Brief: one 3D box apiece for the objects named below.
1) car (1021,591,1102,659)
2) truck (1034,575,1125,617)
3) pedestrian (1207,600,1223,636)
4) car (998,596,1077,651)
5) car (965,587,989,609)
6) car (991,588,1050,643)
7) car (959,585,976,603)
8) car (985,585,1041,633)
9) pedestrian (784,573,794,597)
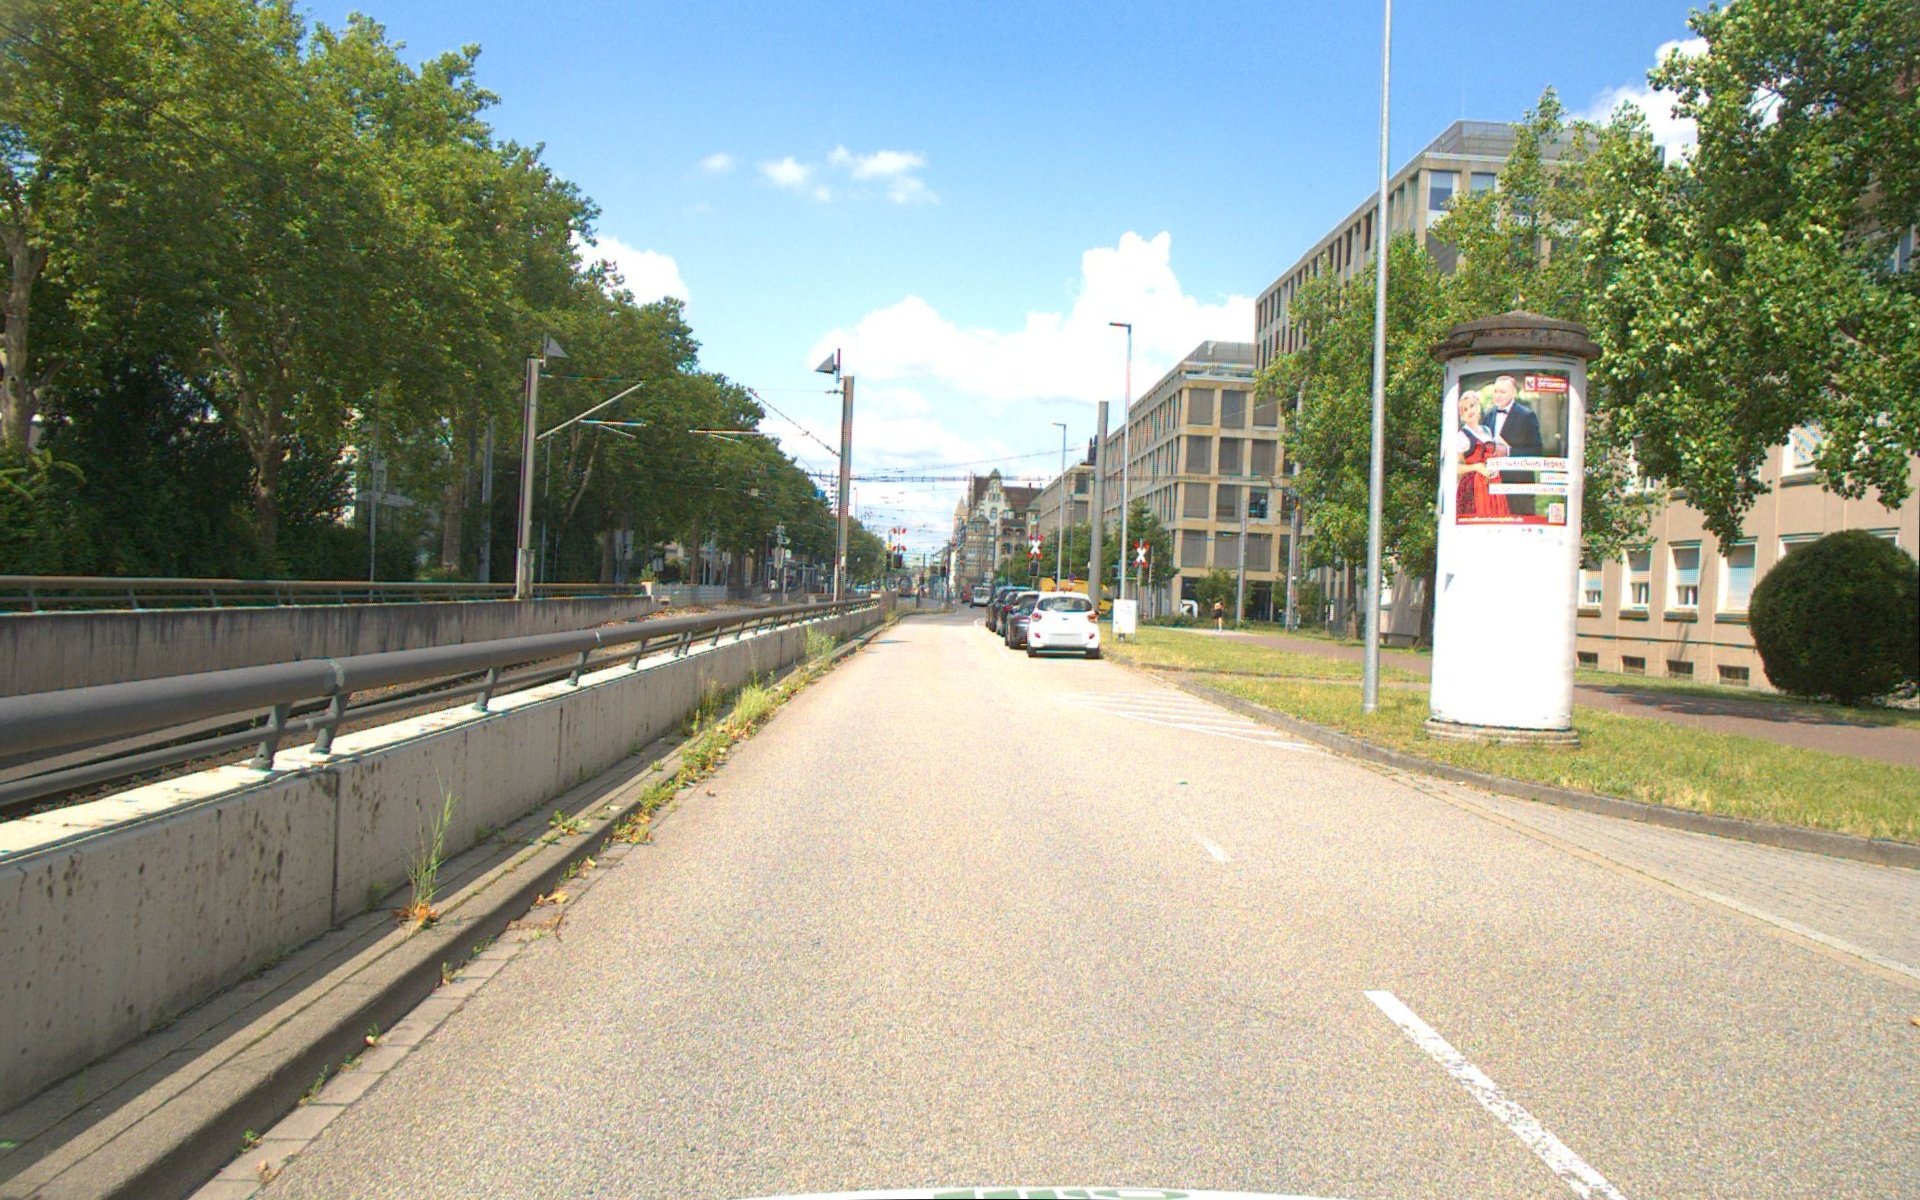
[{"bbox_3d":[2.372,0.554,39.359,1.672,1.505,3.789,1,0,0],"label":"car"},{"bbox_3d":[9.246,-0.303,128.251,6.671,2.917,2.453,2,0,-4],"label":"truck"},{"bbox_3d":[11.768,0.822,76.393,0.610,1.636,0.624,1,0,-4],"label":"pedestrian"},{"bbox_3d":[2.015,0.599,44.222,1.787,1.334,4.441,1,0,-1],"label":"car"},{"bbox_3d":[1.495,-0.176,145.704,1.831,1.777,3.998,4,0,-2],"label":"car"},{"bbox_3d":[1.782,0.443,49.506,1.635,1.541,3.851,1,0,0],"label":"car"},{"bbox_3d":[0.928,-0.707,197.663,1.953,2.049,3.999,1,0,-1],"label":"car"},{"bbox_3d":[1.932,0.300,61.421,1.779,1.691,4.669,1,1,-1],"label":"car"},{"bbox_3d":[-13.668,-1.219,132.035,0.692,1.877,0.864,1,0,-2],"label":"pedestrian"}]
